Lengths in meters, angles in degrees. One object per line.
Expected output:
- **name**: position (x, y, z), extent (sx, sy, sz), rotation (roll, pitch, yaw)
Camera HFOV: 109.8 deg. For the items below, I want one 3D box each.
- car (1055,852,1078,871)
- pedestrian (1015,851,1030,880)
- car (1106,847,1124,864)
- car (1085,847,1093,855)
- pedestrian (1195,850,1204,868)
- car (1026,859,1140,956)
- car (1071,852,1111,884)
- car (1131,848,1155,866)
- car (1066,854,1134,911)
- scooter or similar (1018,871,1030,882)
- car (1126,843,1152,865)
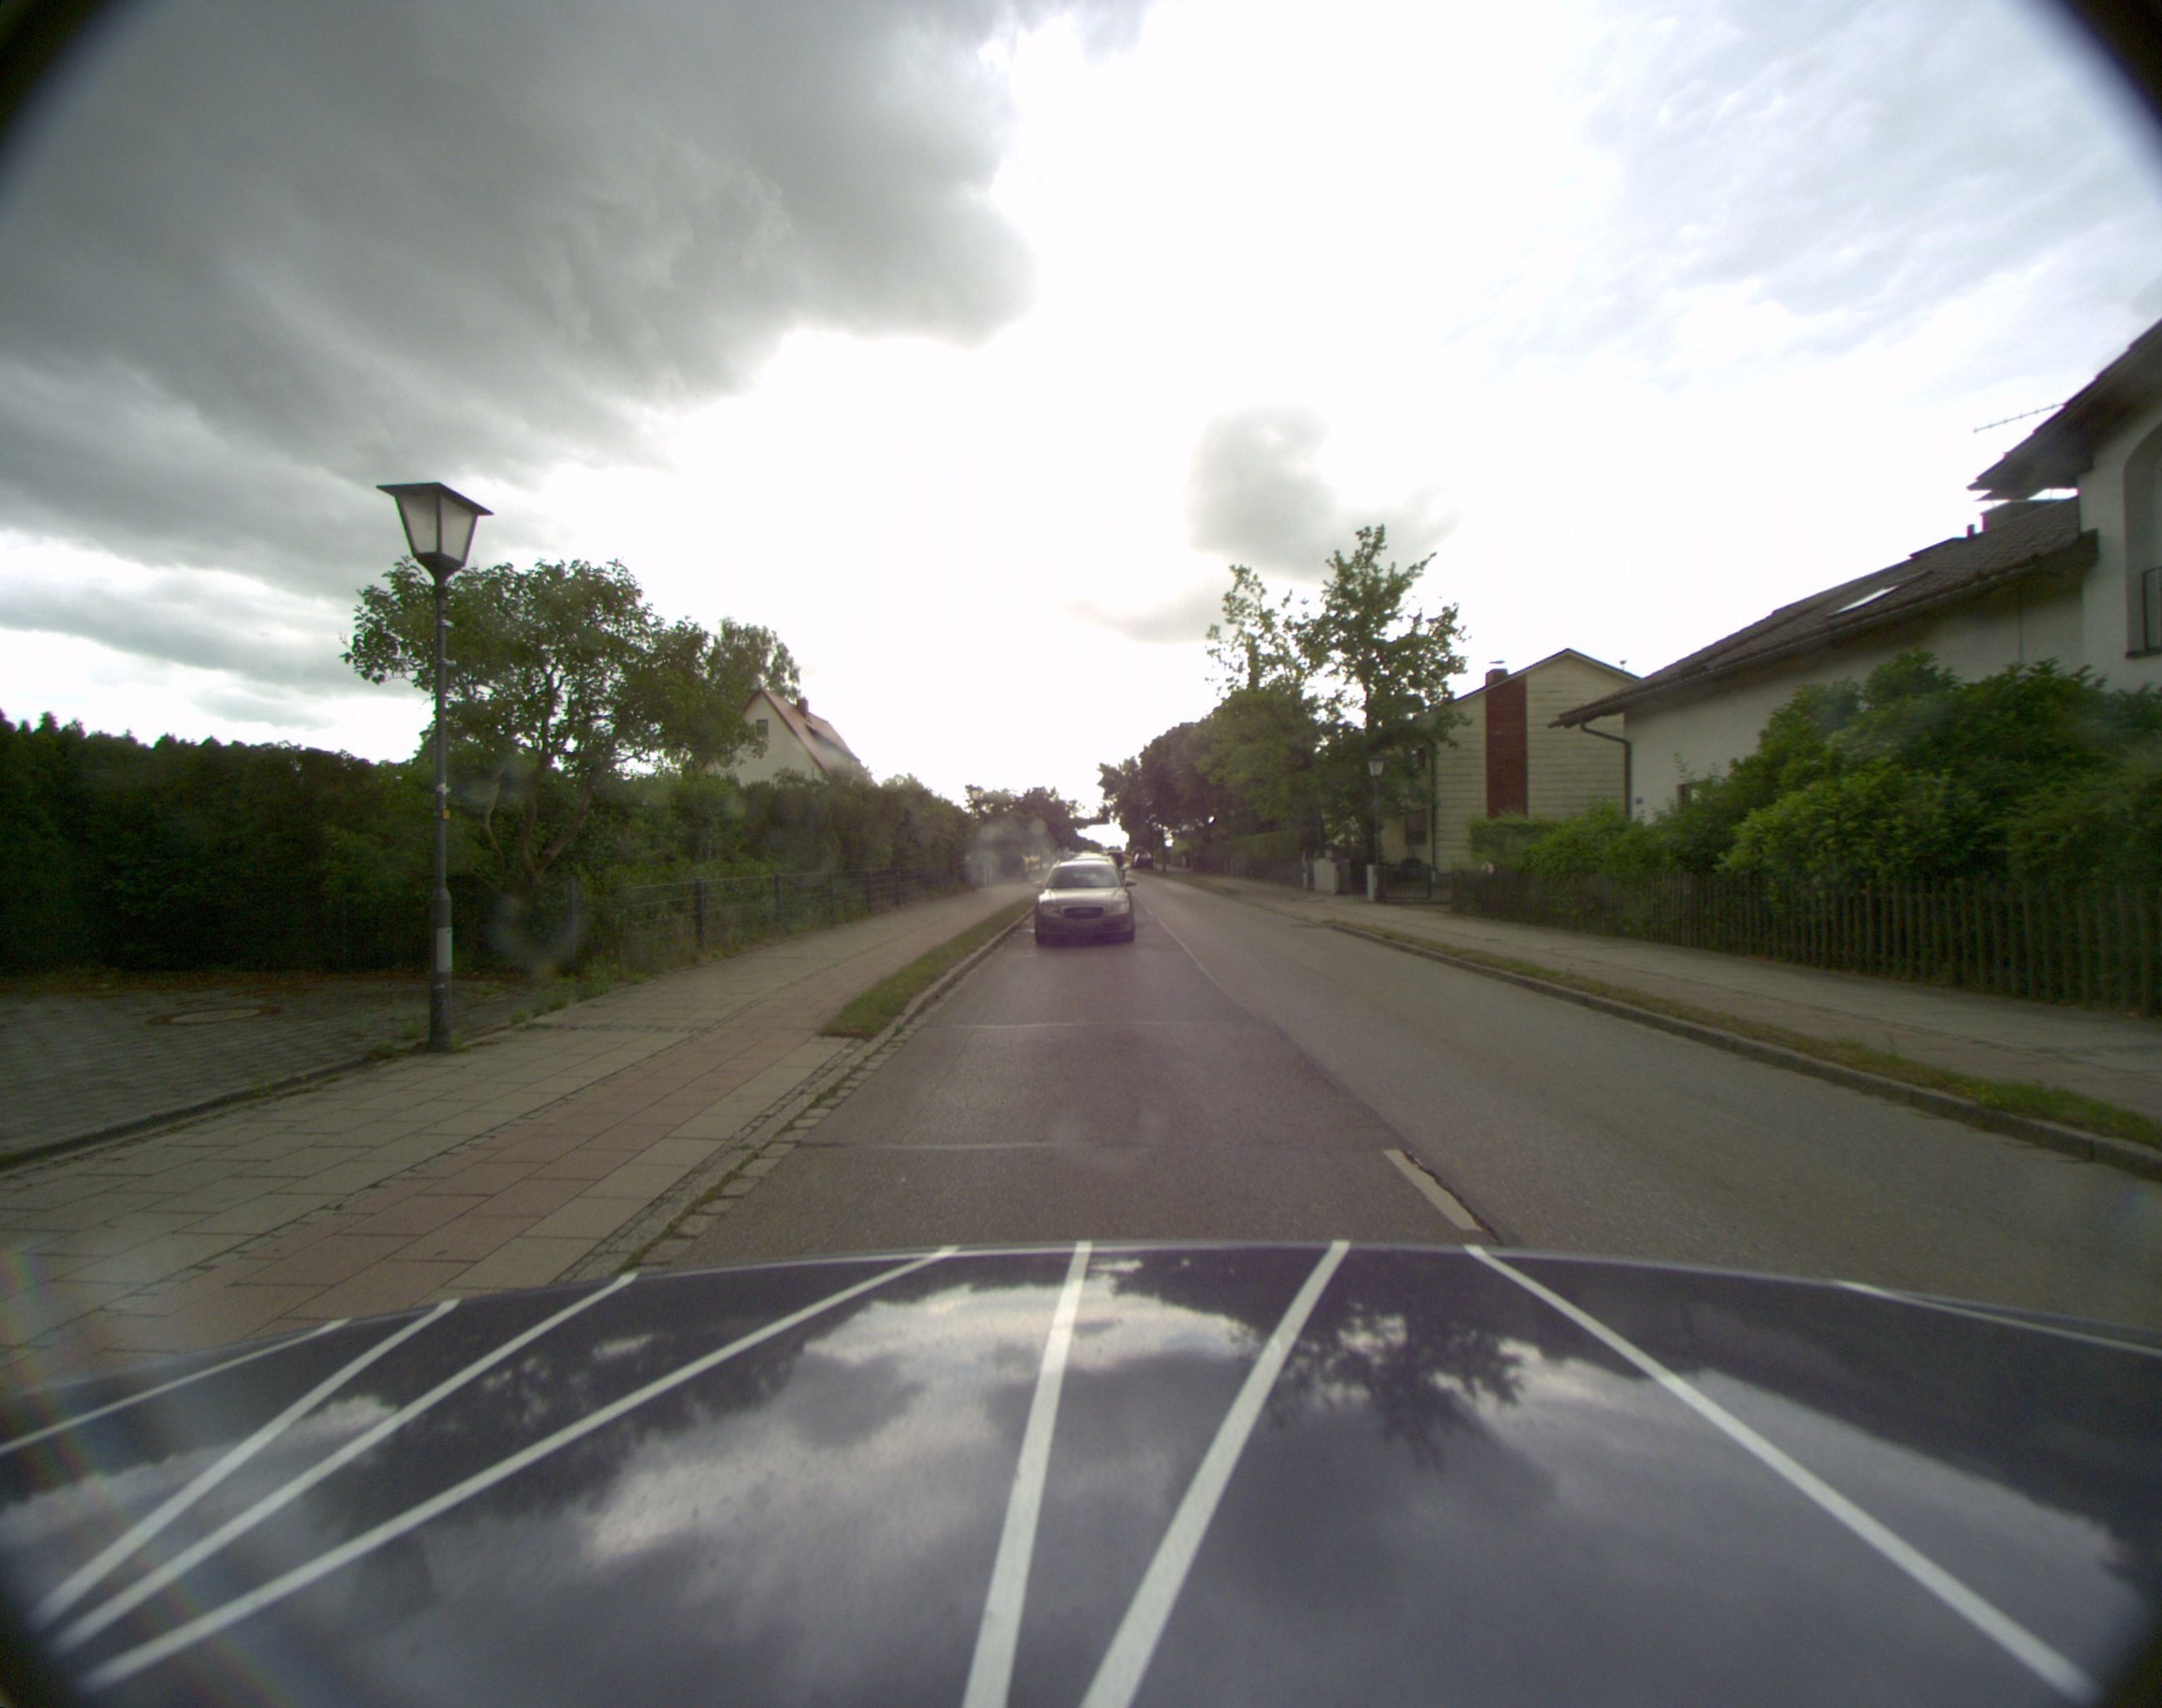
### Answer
- **car**: position (-1.226, 0.585, 63.928), extent (1.866, 1.518, 4.122), rotation (-1, 0, -1)
- **pedestrian**: position (-3.263, 0.625, 42.254), extent (0.792, 1.592, 0.671), rotation (-1, 1, -2)
- **car**: position (3.893, 0.189, 87.475), extent (1.969, 1.842, 4.948), rotation (-1, 0, 2)
- **car**: position (2.130, -0.856, 206.932), extent (1.998, 2.002, 4.000), rotation (-1, 0, 1)
- **pedestrian**: position (9.526, 0.433, 60.894), extent (0.631, 1.429, 0.563), rotation (-1, 1, 1)
- **car**: position (0.060, 0.885, 14.464), extent (1.809, 1.476, 4.270), rotation (-1, 0, 1)
- **car**: position (0.501, 0.676, 38.529), extent (1.866, 1.518, 4.122), rotation (-1, 0, 1)
- **car**: position (6.341, 0.317, 78.025), extent (1.999, 1.739, 3.999), rotation (-1, 0, -2)
- **car**: position (0.549, 0.790, 23.498), extent (1.866, 1.518, 4.943), rotation (-1, 0, 1)
- **scooter or similar**: position (-3.102, 1.228, 41.588), extent (0.618, 0.553, 0.742), rotation (-1, 0, -2)
- **car**: position (6.365, -0.028, 83.864), extent (2.246, 2.258, 4.469), rotation (-1, 0, -2)
